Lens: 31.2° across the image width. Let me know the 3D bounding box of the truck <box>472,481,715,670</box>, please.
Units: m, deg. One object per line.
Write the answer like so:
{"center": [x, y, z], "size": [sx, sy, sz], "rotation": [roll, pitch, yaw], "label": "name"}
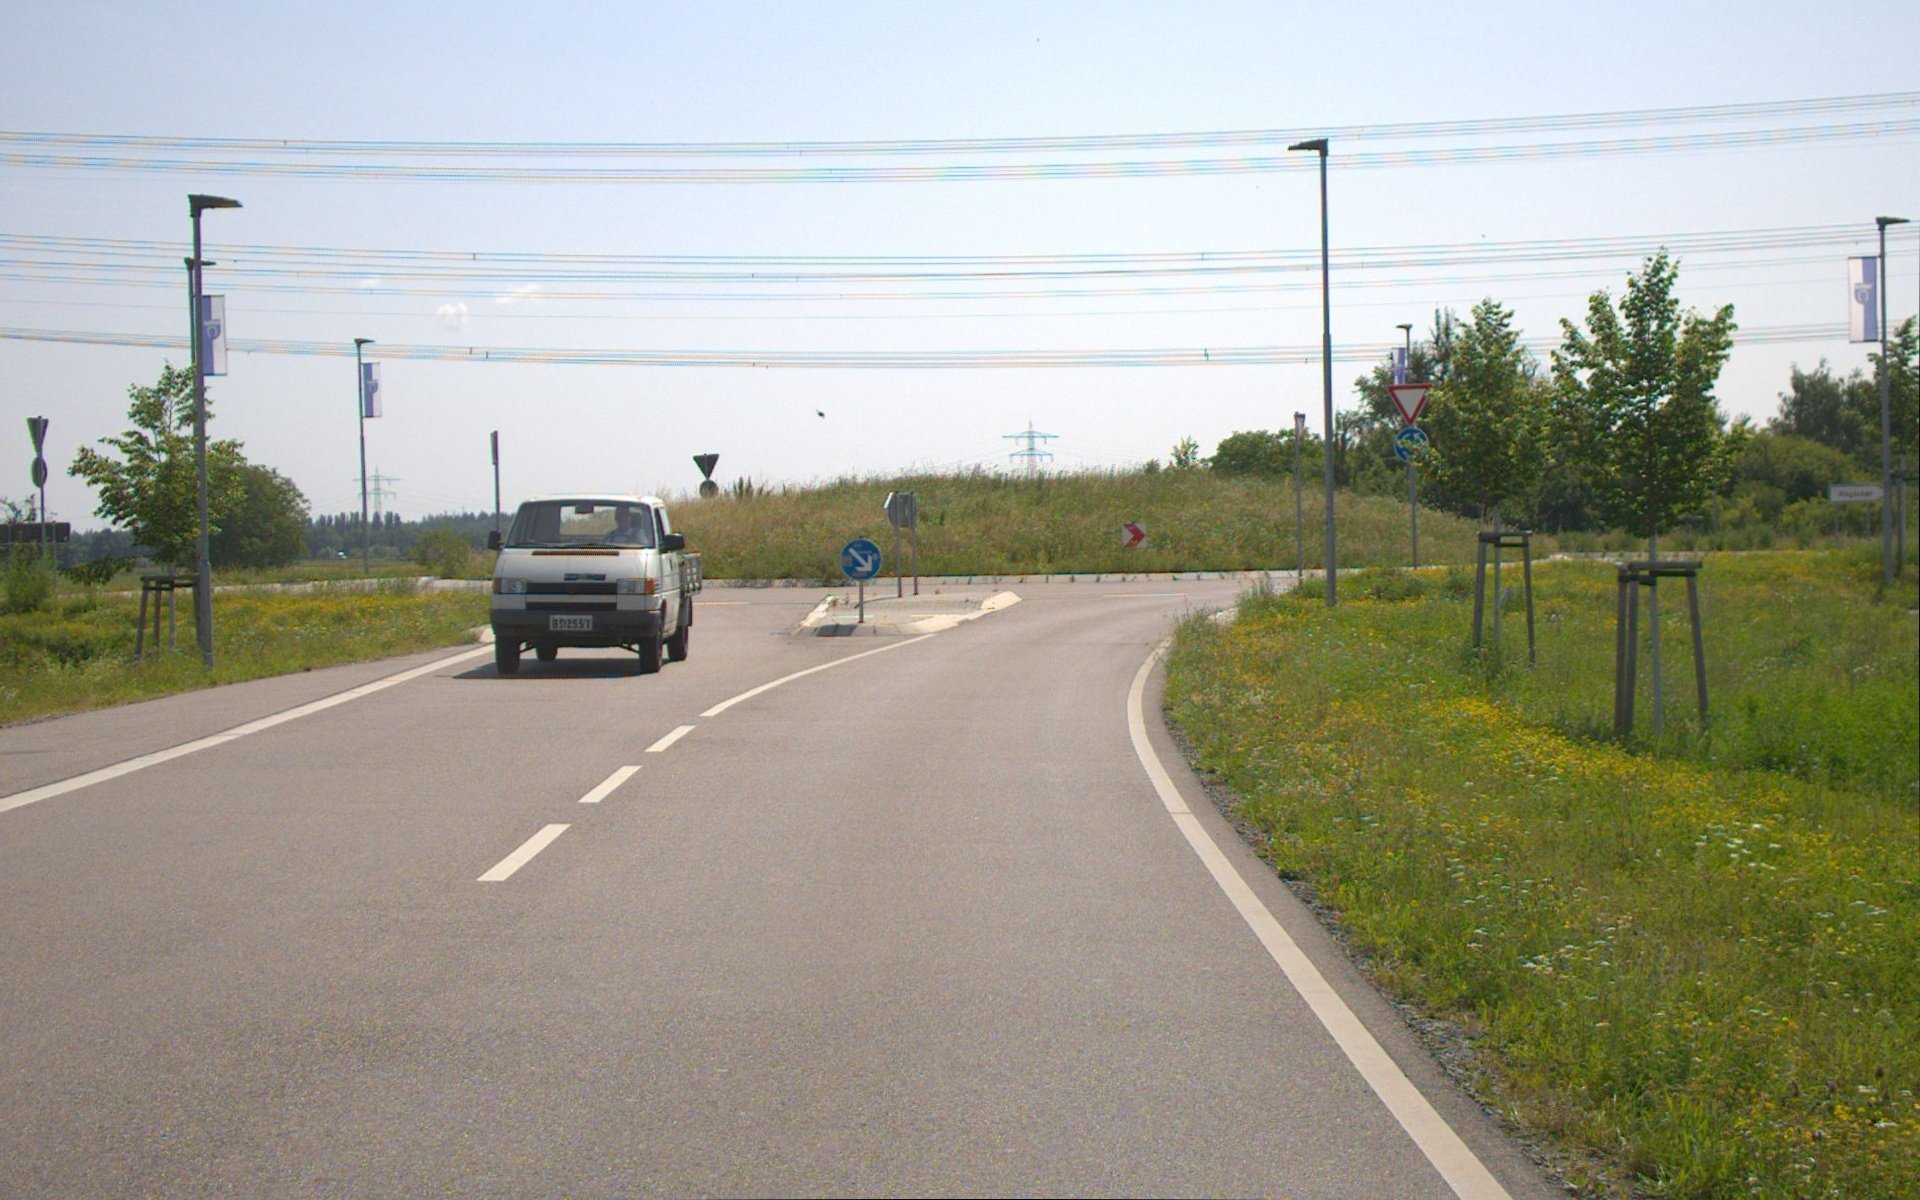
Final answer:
{"center": [-4.059, -0.335, 38.997], "size": [1.952, 1.978, 5.644], "rotation": [0, 1, 2], "label": "truck"}
